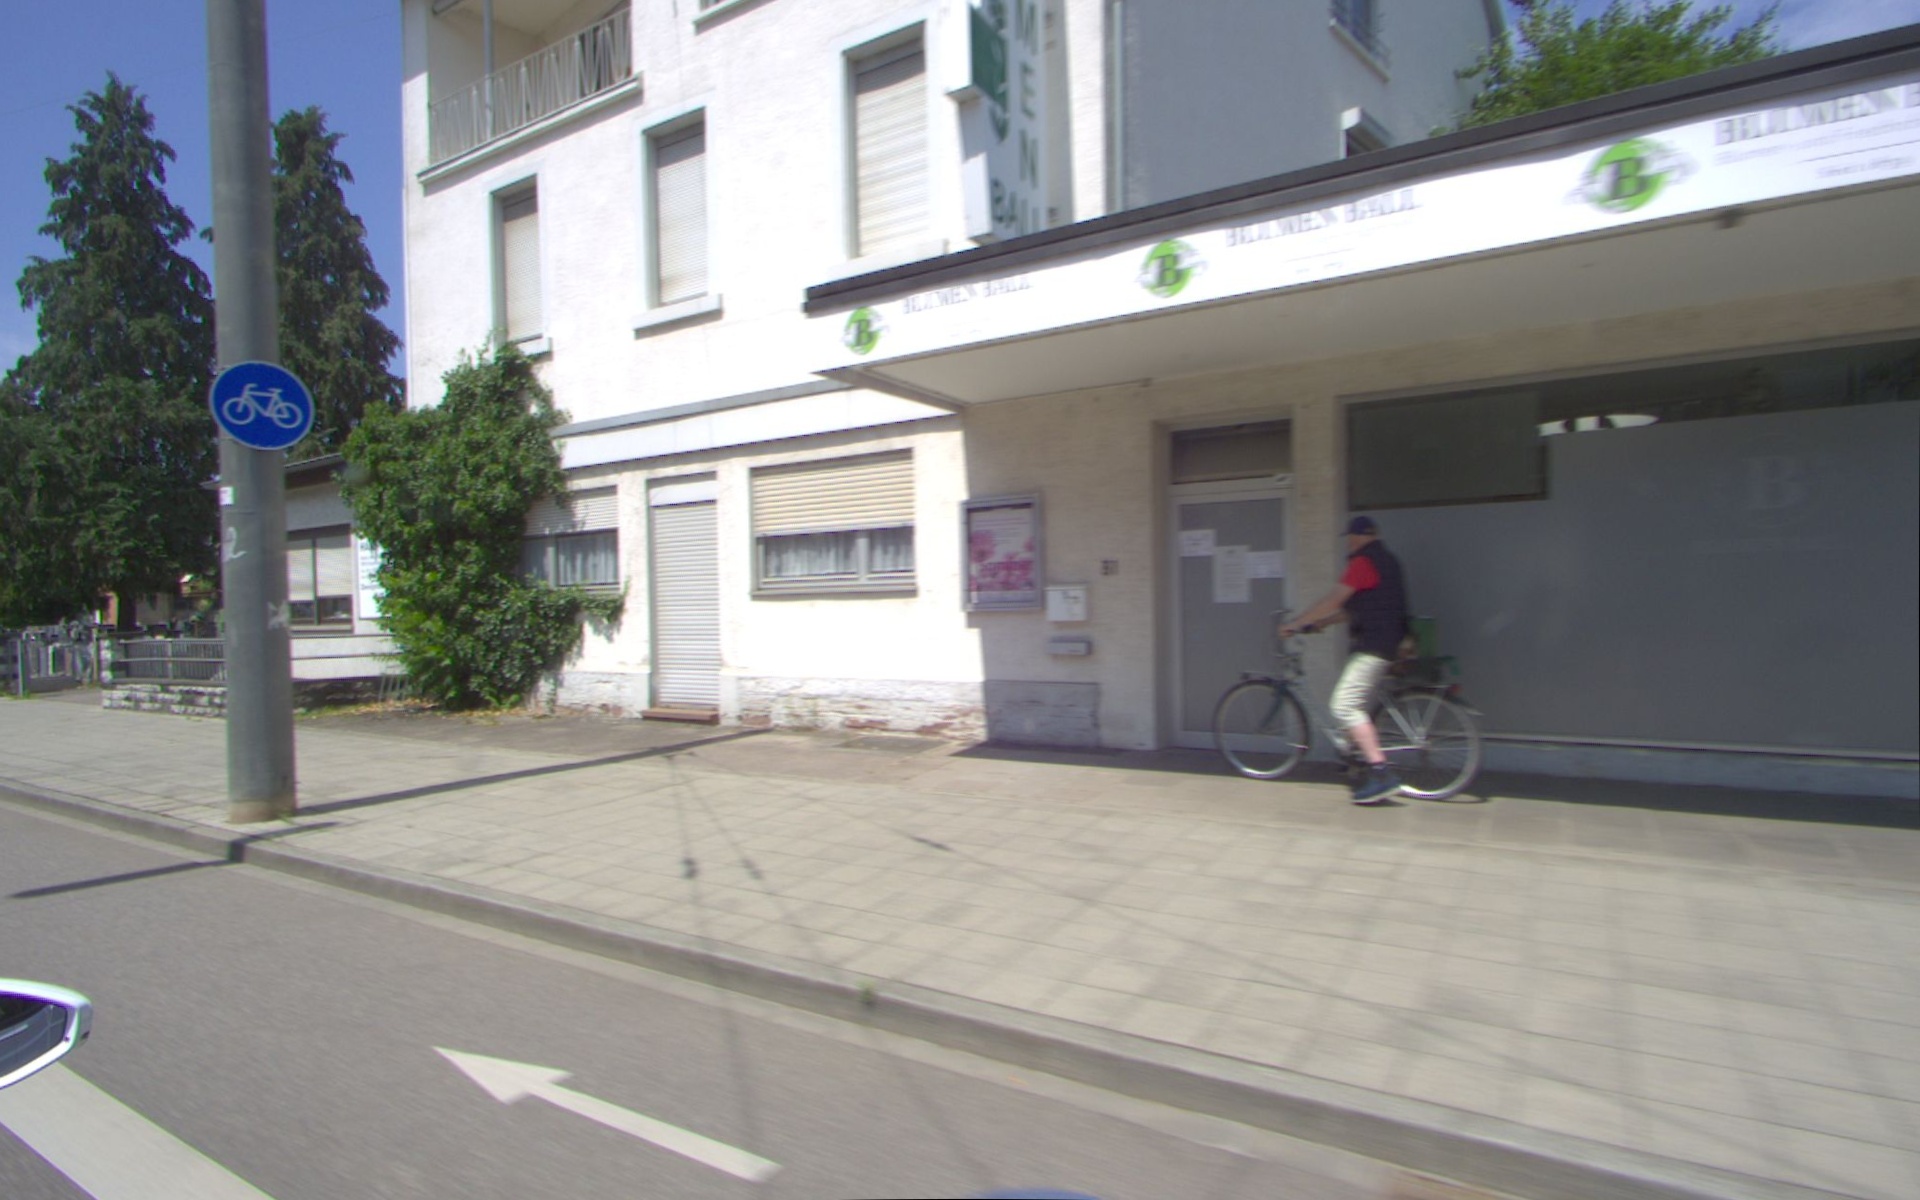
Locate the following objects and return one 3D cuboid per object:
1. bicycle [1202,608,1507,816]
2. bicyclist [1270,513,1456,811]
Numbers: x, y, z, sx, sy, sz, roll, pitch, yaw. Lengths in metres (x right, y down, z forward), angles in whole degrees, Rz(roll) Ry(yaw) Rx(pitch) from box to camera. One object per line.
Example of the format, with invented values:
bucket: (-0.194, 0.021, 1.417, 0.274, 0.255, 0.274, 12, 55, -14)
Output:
bicycle: (2.546, 0.675, 6.658, 1.885, 1.213, 0.373, -1, 1, 44)
bicyclist: (2.637, 0.375, 6.562, 0.914, 1.784, 0.723, 0, 1, 44)
